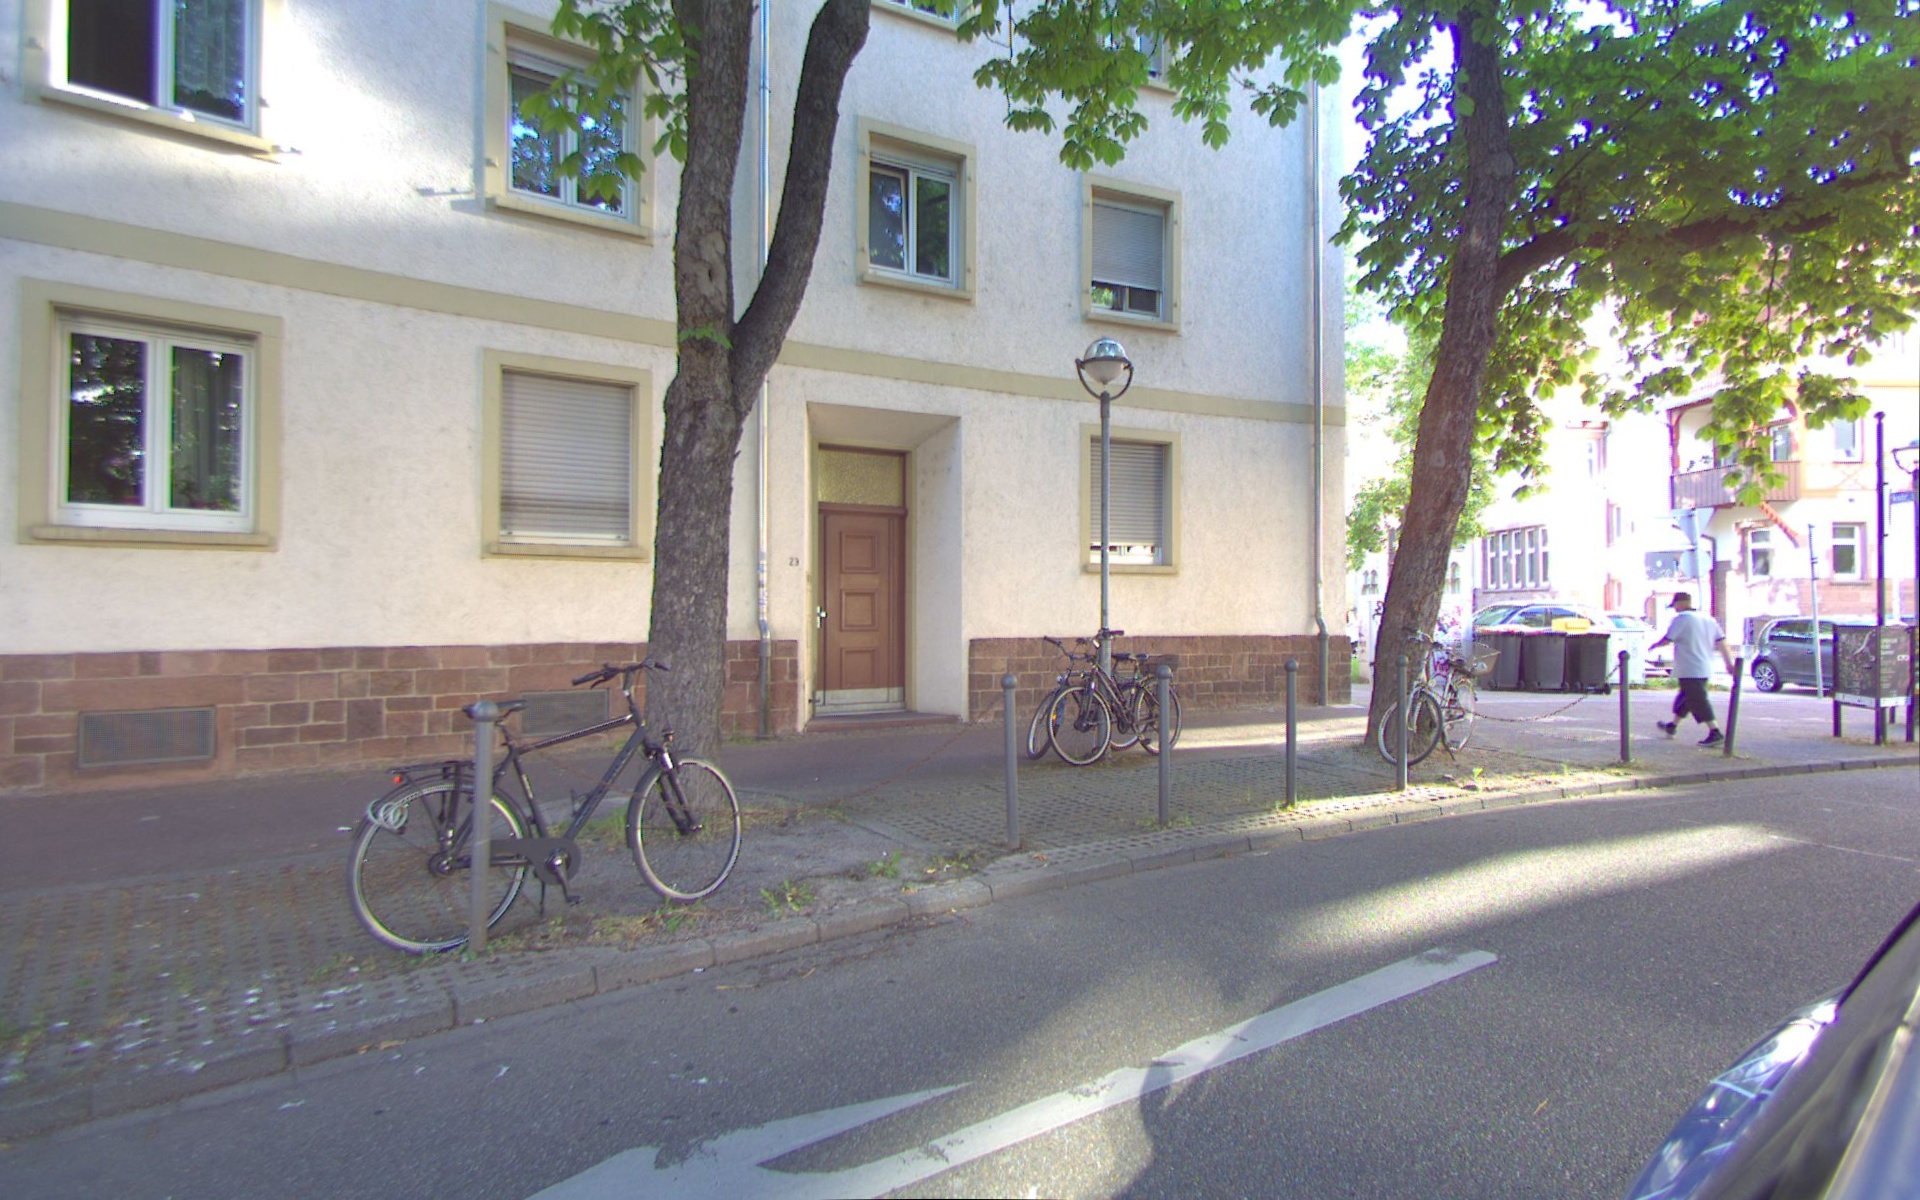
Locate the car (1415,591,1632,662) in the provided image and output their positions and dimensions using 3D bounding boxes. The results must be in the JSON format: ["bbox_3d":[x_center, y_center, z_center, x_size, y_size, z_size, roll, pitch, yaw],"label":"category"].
[{"bbox_3d":[12.012,0.549,21.718,3.728,1.443,1.677,0,-1,-5],"label":"car"}]

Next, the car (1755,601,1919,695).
[{"bbox_3d":[16.859,0.824,18.279,1.663,1.572,4.053,0,-1,-3],"label":"car"}]

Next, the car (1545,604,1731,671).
[{"bbox_3d":[17.109,0.910,25.815,1.771,1.572,4.187,0,-1,-3],"label":"car"}]

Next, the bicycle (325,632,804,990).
[{"bbox_3d":[-1.690,0.786,4.560,1.882,1.238,0.718,0,-1,-43],"label":"bicycle"}]

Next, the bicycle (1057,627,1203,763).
[{"bbox_3d":[1.556,0.814,9.107,1.607,1.108,0.334,0,-1,-41],"label":"bicycle"}]

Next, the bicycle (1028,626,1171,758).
[{"bbox_3d":[1.323,0.812,9.395,1.607,1.108,0.334,0,-1,-41],"label":"bicycle"}]

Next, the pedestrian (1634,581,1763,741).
[{"bbox_3d":[7.879,0.612,10.817,0.630,1.612,0.945,0,0,-33],"label":"pedestrian"}]

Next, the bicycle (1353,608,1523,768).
[{"bbox_3d":[4.422,0.735,9.299,1.871,1.321,0.766,0,-1,-43],"label":"bicycle"}]

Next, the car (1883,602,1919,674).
[{"bbox_3d":[21.606,0.824,21.221,1.463,1.559,3.217,1,0,-3],"label":"car"}]
